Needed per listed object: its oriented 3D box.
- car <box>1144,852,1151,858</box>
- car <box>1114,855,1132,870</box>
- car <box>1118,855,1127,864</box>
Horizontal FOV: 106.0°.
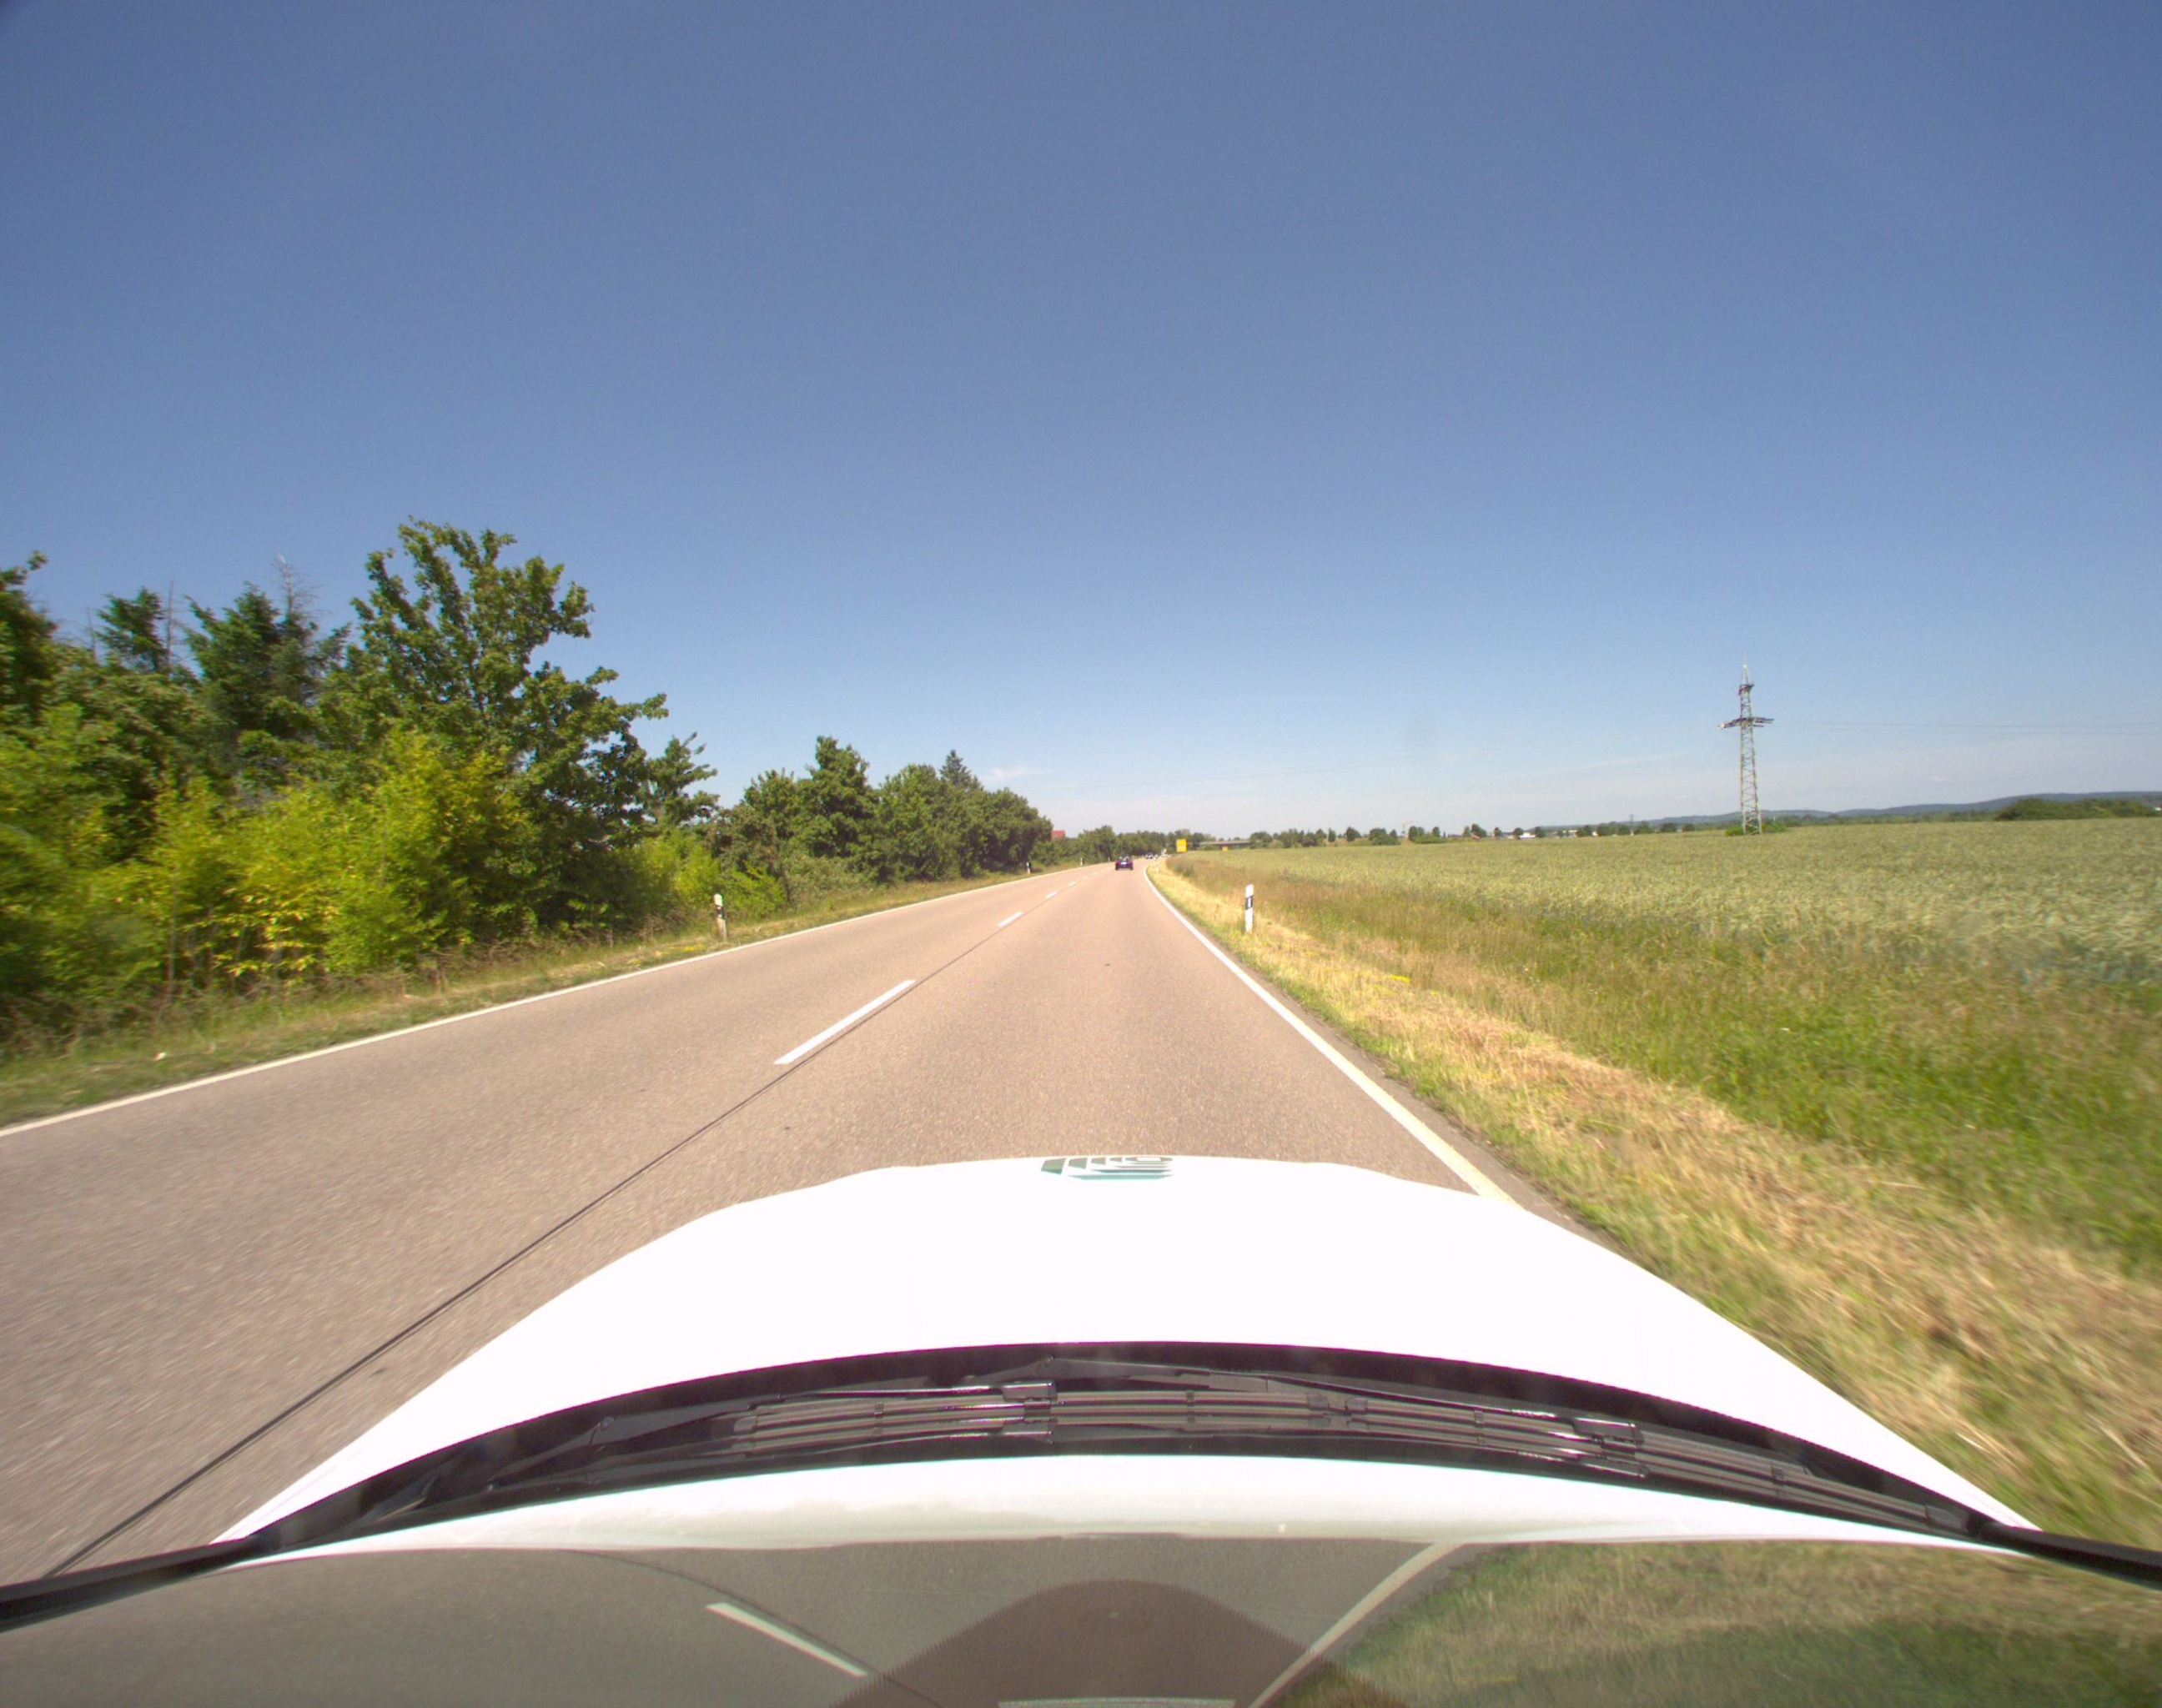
[{"bbox_3d":[18.952,0.352,230.474,1.809,1.701,5.010,-1,0,6],"label":"car"},{"bbox_3d":[4.257,0.866,82.151,1.806,1.441,4.004,0,0,3],"label":"car"},{"bbox_3d":[8.179,1.051,159.286,1.691,1.566,3.675,-1,0,4],"label":"car"}]
